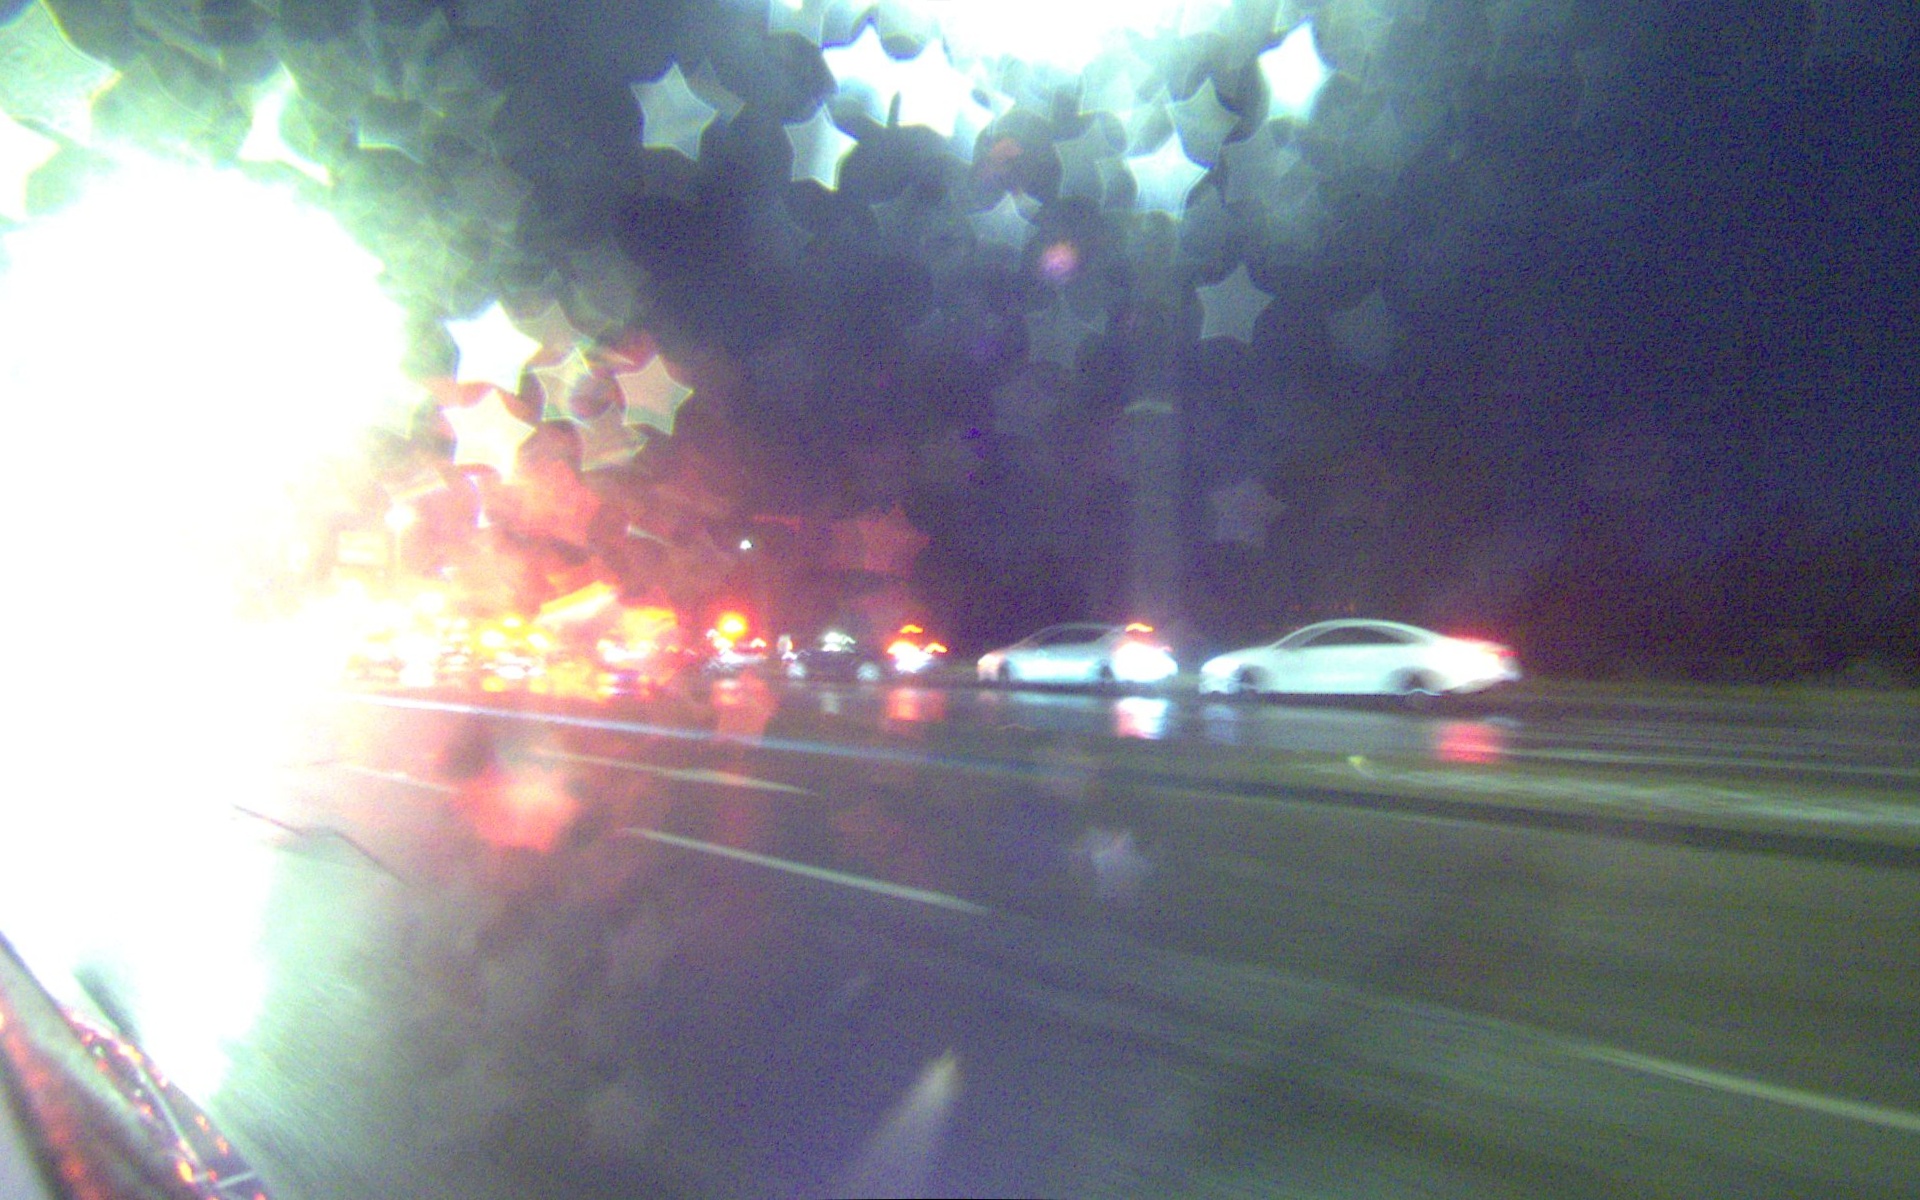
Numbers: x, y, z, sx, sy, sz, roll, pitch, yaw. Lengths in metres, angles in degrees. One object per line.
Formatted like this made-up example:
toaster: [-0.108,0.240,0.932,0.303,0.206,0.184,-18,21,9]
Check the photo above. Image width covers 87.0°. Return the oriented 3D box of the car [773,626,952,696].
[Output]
car: [-2.521,1.492,25.451,4.530,1.550,1.833,0,-3,40]

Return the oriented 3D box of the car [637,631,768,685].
car: [-7.631,1.655,29.854,4.037,1.387,1.742,0,-1,40]

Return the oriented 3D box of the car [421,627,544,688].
car: [-14.896,1.729,31.449,4.484,1.678,1.780,0,-1,40]

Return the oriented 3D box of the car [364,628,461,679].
car: [-19.694,1.869,36.350,3.974,1.678,1.780,0,-1,40]

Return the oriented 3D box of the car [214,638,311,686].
car: [-24.098,2.096,34.911,4.410,1.495,1.758,-3,-2,41]

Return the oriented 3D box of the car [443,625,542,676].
car: [-17.591,1.880,38.008,4.247,1.813,1.780,-2,-2,40]

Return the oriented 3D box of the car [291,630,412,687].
car: [-18.430,1.739,30.598,4.301,1.590,1.794,-2,-3,40]

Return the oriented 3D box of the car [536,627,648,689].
car: [-12.372,1.889,33.941,4.122,1.862,1.742,0,-1,40]

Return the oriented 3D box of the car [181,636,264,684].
car: [-28.680,2.295,39.338,3.898,1.738,1.742,-2,-2,40]

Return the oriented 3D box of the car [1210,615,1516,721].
car: [6.626,1.039,16.882,4.424,1.542,1.866,-1,-2,37]

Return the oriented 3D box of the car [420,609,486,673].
car: [-23.837,1.864,47.786,2.217,2.730,5.627,-3,0,-22]

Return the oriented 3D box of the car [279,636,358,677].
car: [-26.442,2.269,41.663,4.056,1.498,1.694,0,-1,42]

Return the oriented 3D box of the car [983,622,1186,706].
car: [2.537,1.311,21.363,4.143,1.614,1.478,-2,-3,41]
